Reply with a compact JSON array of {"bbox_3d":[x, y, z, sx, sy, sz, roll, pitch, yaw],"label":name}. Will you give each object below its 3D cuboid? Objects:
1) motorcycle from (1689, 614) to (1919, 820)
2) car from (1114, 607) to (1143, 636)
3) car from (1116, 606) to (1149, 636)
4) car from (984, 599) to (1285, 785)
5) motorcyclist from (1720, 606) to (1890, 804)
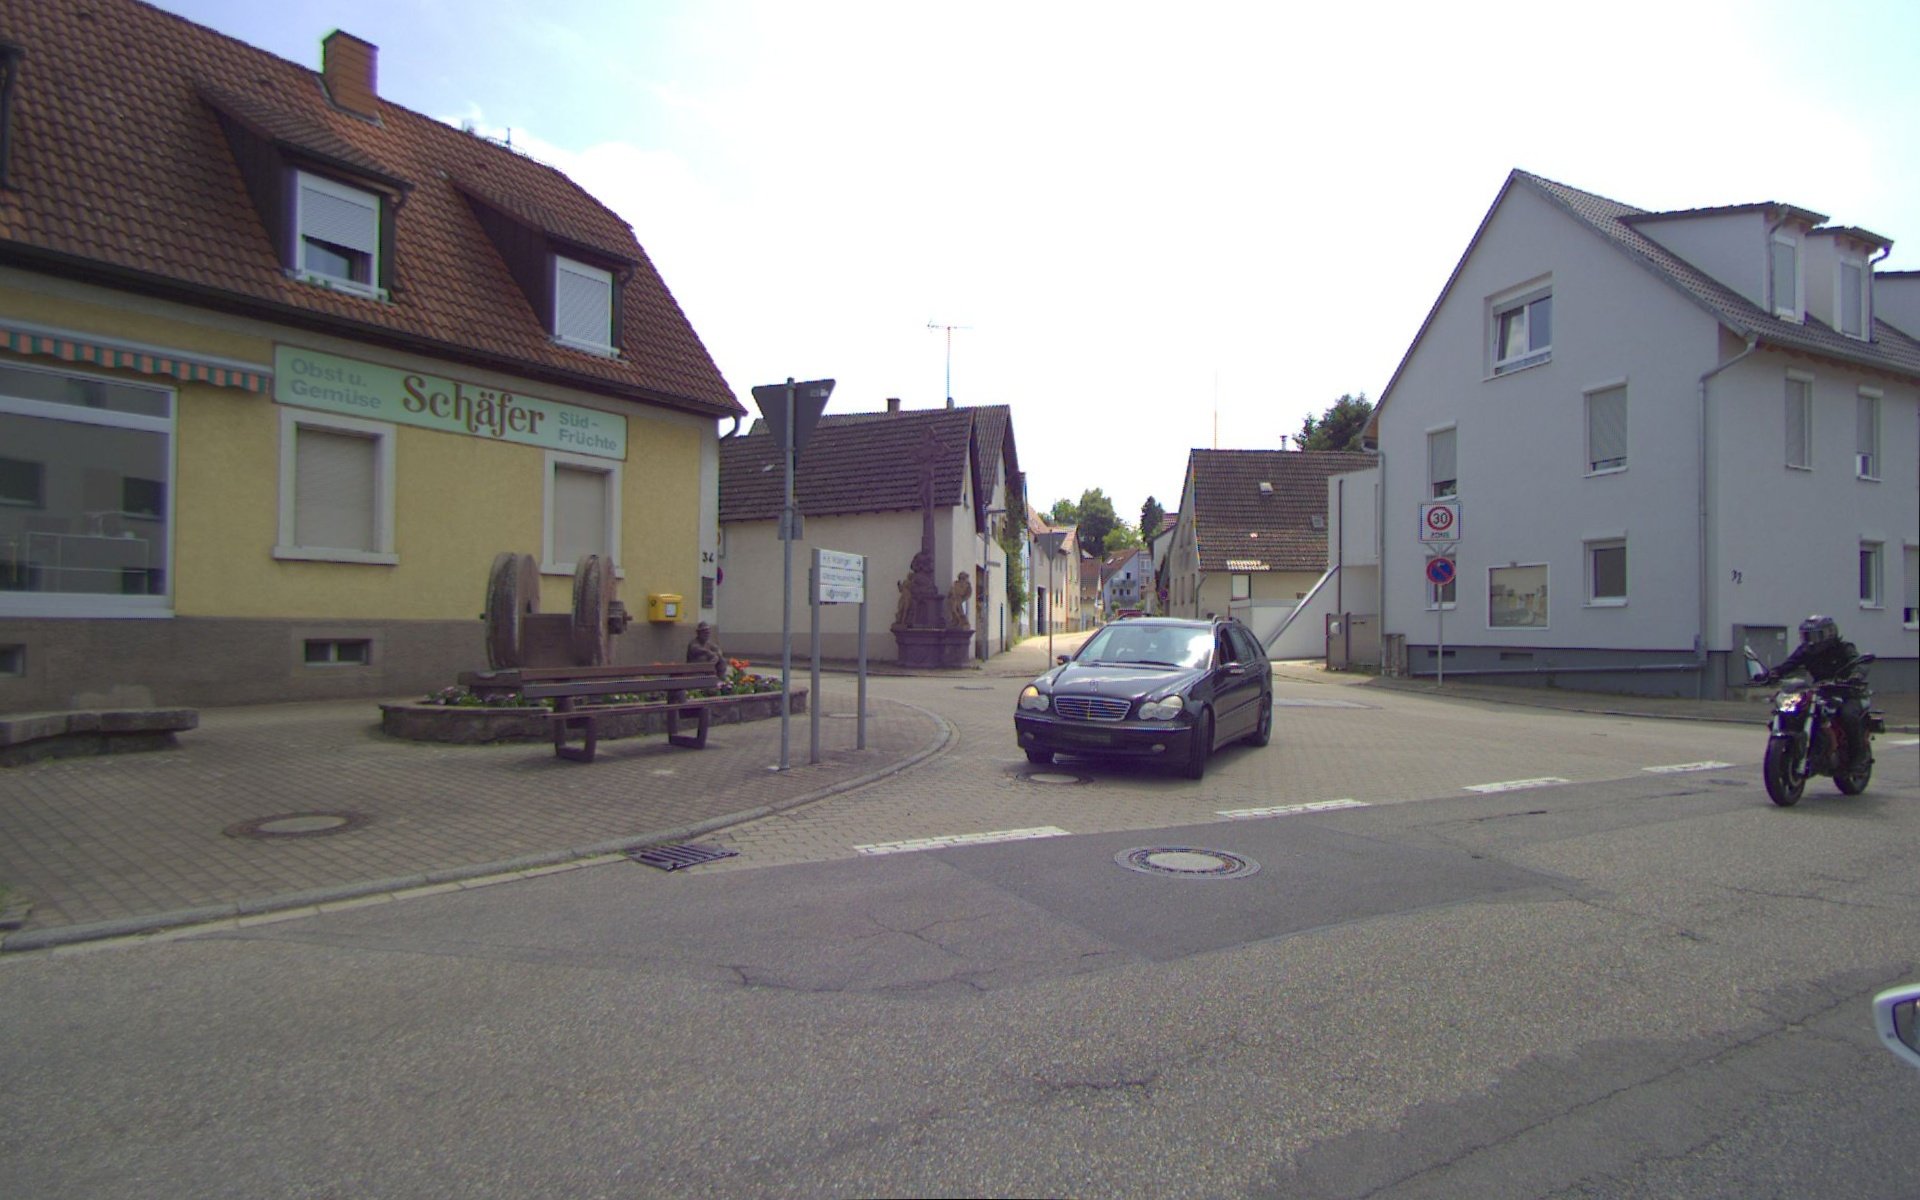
[{"bbox_3d":[7.237,0.921,8.586,1.943,1.581,0.877,1,0,-28],"label":"motorcycle"},{"bbox_3d":[10.144,1.327,60.530,1.369,1.656,3.478,2,-2,4],"label":"car"},{"bbox_3d":[9.418,1.153,55.024,1.461,1.550,3.478,2,-2,4],"label":"car"},{"bbox_3d":[2.061,0.832,10.422,1.780,1.430,4.632,2,-2,27],"label":"car"},{"bbox_3d":[7.213,0.842,8.590,0.797,1.575,0.892,1,0,-29],"label":"motorcyclist"}]
